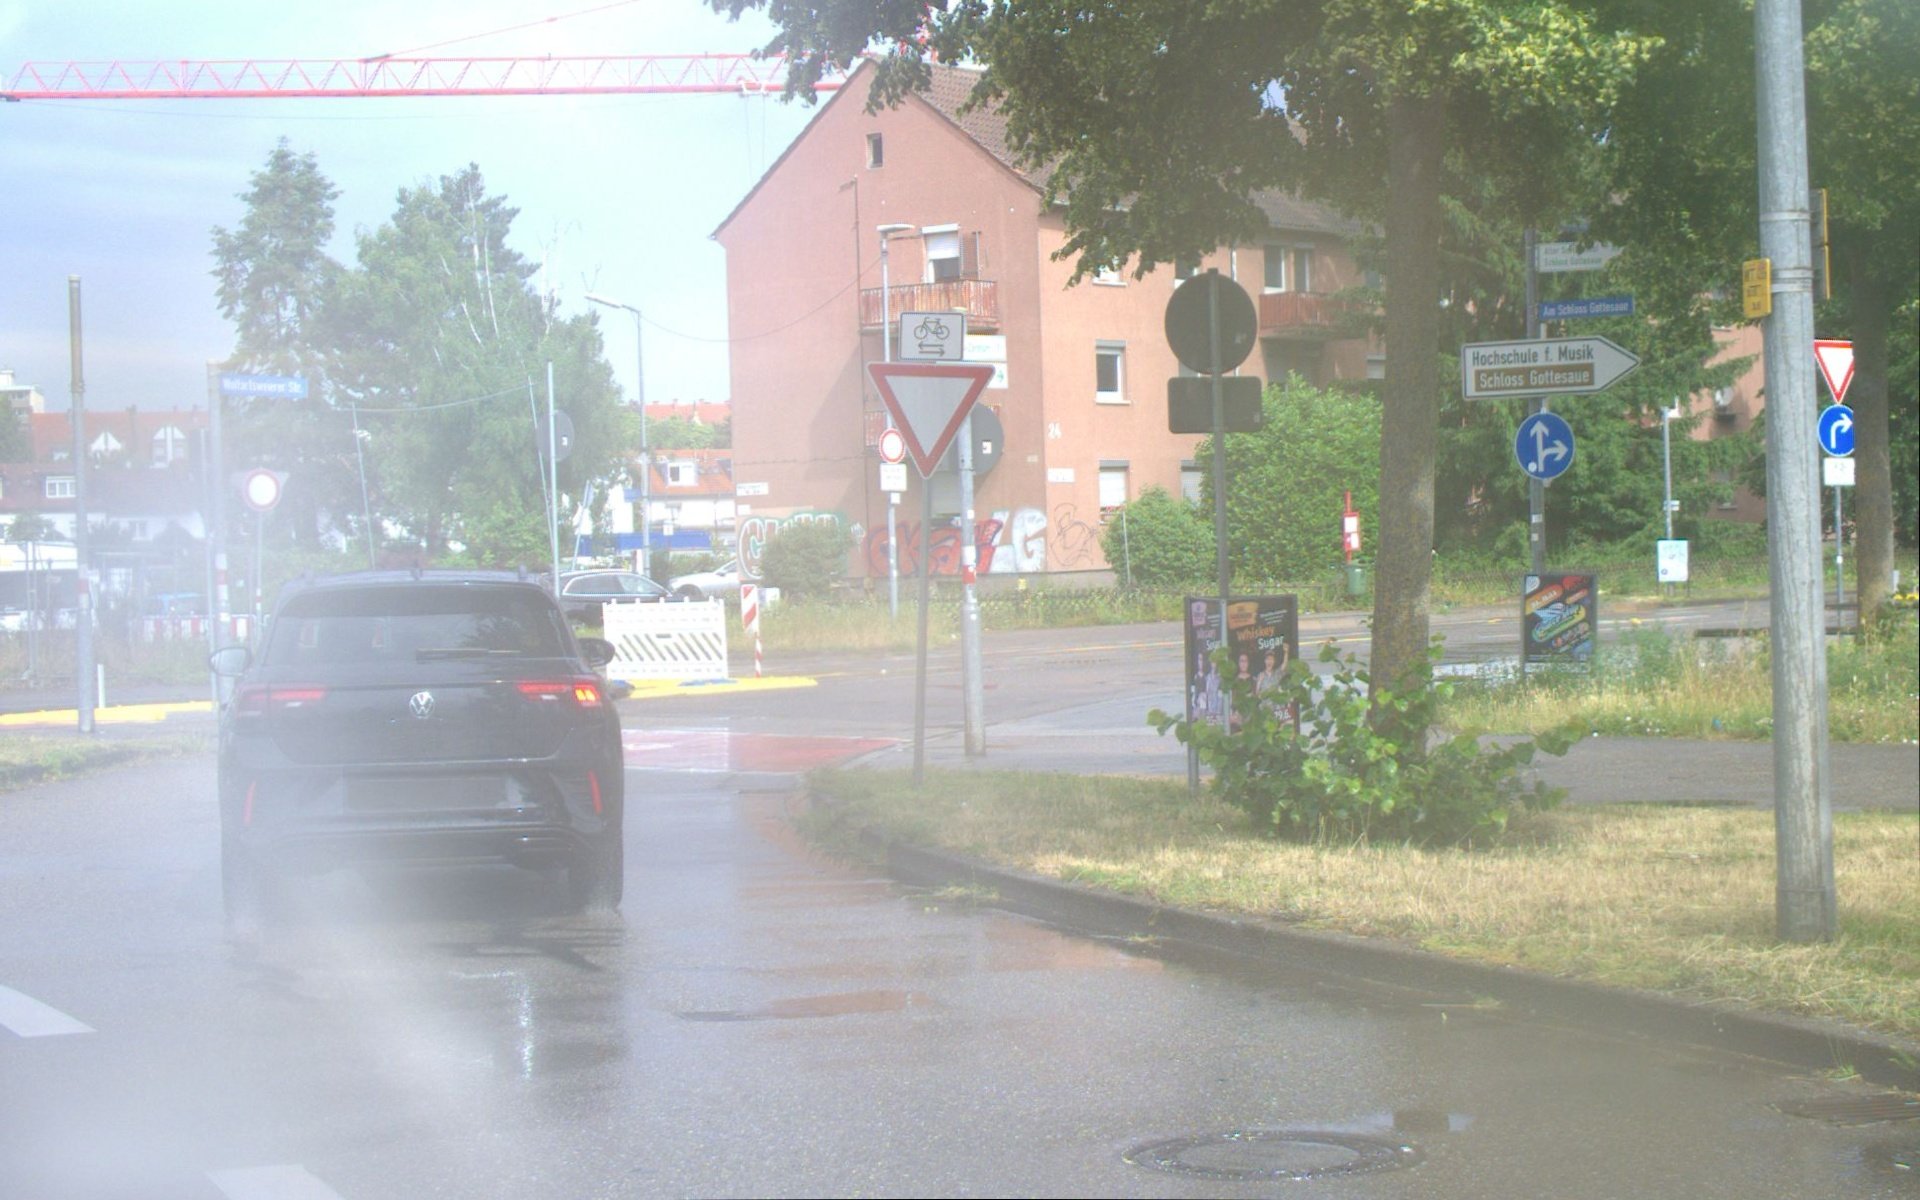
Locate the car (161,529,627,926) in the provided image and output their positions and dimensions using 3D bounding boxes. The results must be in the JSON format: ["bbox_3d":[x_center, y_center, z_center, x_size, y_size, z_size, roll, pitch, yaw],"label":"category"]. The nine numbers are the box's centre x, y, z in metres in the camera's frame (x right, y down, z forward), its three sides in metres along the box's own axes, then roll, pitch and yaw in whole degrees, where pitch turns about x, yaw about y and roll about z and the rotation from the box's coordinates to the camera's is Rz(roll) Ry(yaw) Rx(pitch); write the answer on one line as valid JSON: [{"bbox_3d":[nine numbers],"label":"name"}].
[{"bbox_3d":[-2.669,0.508,16.502,1.897,1.612,4.001,-2,1,-8],"label":"car"}]

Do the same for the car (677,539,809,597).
[{"bbox_3d":[-6.094,-0.900,96.584,3.510,1.514,1.617,-2,1,2],"label":"car"}]

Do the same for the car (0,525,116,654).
[{"bbox_3d":[-16.970,-0.249,62.607,2.036,2.077,6.268,-2,3,-24],"label":"car"}]
